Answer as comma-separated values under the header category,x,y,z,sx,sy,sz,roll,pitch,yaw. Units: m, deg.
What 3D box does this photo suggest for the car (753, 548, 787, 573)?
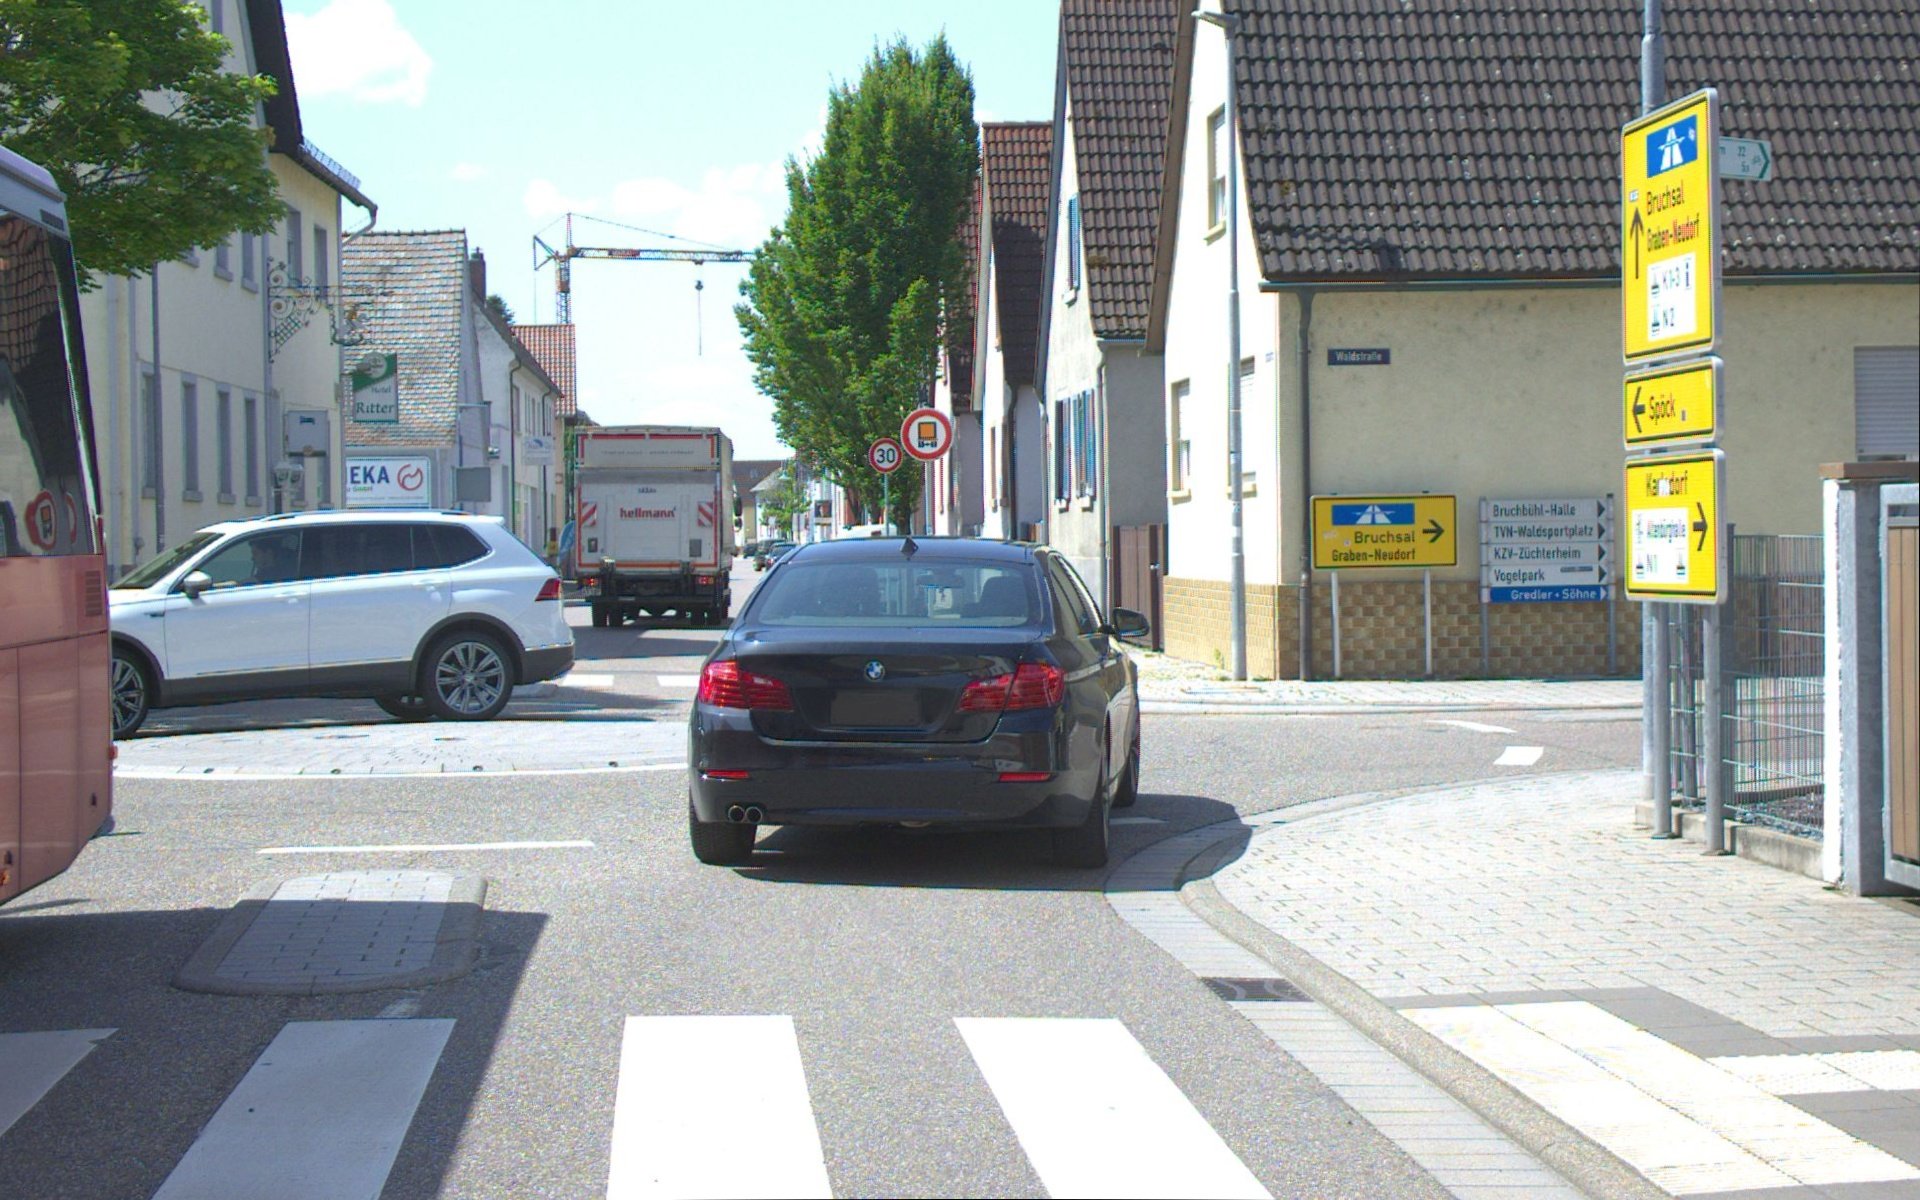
category,x,y,z,sx,sy,sz,roll,pitch,yaw
car,-9.822,-2.046,177.861,1.719,1.264,4.157,0,1,-4

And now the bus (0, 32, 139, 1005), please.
category,x,y,z,sx,sy,sz,roll,pitch,yaw
bus,-4.203,-0.174,7.532,2.626,3.221,12.025,-3,1,-4

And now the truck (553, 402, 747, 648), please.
category,x,y,z,sx,sy,sz,roll,pitch,yaw
truck,-5.664,-1.346,64.276,3.144,4.236,9.303,1,1,-3

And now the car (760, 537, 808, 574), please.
category,x,y,z,sx,sy,sz,roll,pitch,yaw
car,-6.616,-1.668,129.016,1.719,1.350,4.157,0,1,-4

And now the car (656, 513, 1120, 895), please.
category,x,y,z,sx,sy,sz,roll,pitch,yaw
car,-0.219,0.379,16.499,1.902,1.558,4.476,-1,1,2

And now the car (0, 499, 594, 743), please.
category,x,y,z,sx,sy,sz,roll,pitch,yaw
car,-5.299,0.112,26.590,4.527,1.704,1.872,-2,1,-24

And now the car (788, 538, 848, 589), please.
category,x,y,z,sx,sy,sz,roll,pitch,yaw
car,-4.162,-1.093,100.688,1.719,1.456,4.157,0,1,-2

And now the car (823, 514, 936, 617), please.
category,x,y,z,sx,sy,sz,roll,pitch,yaw
car,-1.528,-0.663,63.860,1.719,1.784,4.145,-2,1,-6
